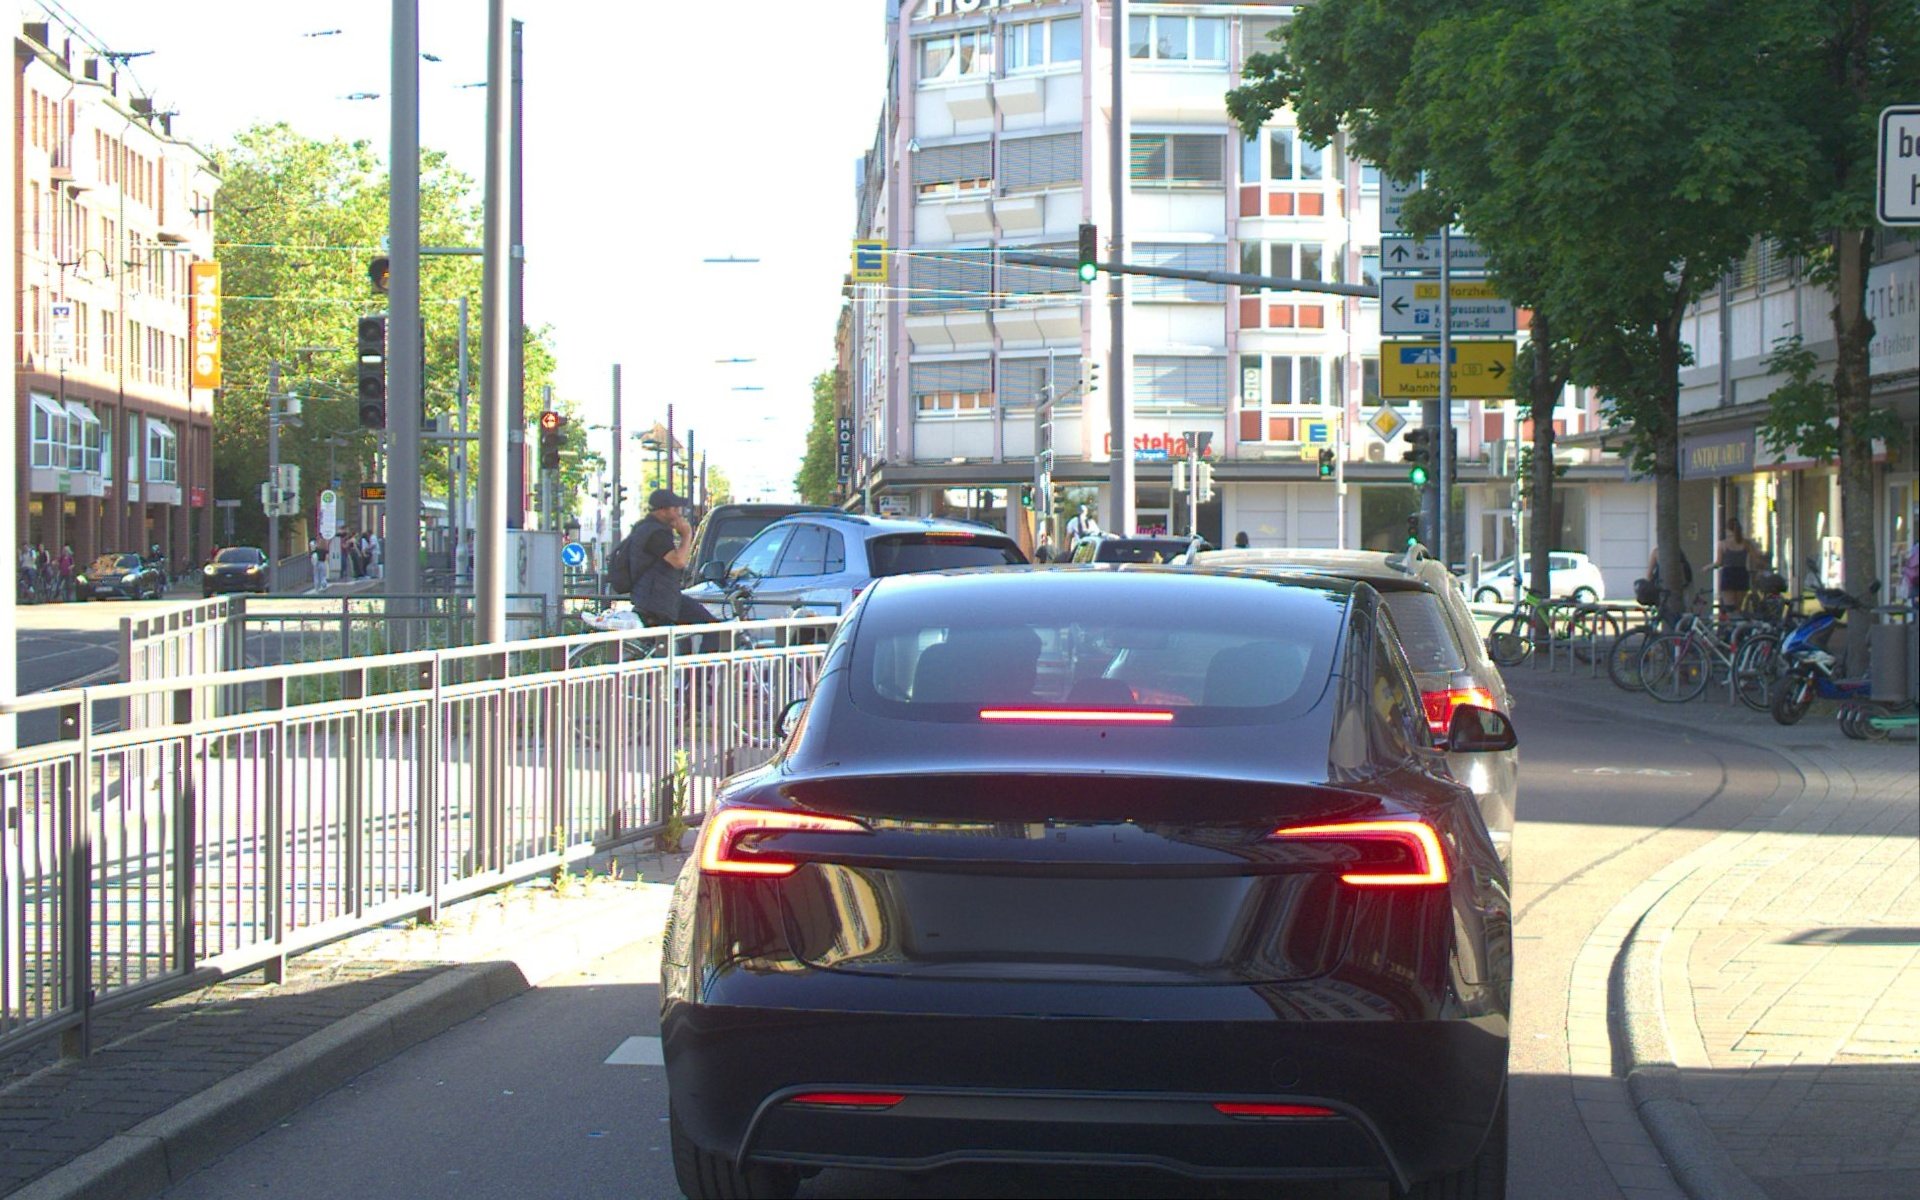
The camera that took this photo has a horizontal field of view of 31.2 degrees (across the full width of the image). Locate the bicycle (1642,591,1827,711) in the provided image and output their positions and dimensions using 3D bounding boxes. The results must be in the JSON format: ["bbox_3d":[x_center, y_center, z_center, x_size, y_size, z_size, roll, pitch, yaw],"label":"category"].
[{"bbox_3d":[7.181,0.474,31.881,1.649,1.095,0.350,1,0,-10],"label":"bicycle"}]

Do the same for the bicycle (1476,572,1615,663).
[{"bbox_3d":[7.231,0.218,42.488,1.650,1.095,0.350,1,0,1],"label":"bicycle"}]

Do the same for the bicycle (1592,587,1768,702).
[{"bbox_3d":[6.999,0.431,33.408,1.649,1.095,0.350,1,0,-10],"label":"bicycle"}]

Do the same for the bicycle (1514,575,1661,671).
[{"bbox_3d":[7.361,0.266,40.349,1.650,1.095,0.350,1,0,1],"label":"bicycle"}]

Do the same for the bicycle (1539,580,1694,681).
[{"bbox_3d":[7.309,0.339,38.309,1.650,1.095,0.350,1,0,1],"label":"bicycle"}]

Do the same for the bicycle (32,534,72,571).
[{"bbox_3d":[-27.249,-1.421,103.168,0.529,1.085,2.284,1,1,1],"label":"bicycle"}]

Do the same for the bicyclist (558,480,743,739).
[{"bbox_3d":[-2.002,0.052,22.186,0.758,1.623,0.978,0,1,-39],"label":"bicyclist"}]

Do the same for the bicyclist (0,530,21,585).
[{"bbox_3d":[-27.293,-1.203,98.074,0.784,1.558,0.746,1,0,1],"label":"bicyclist"}]

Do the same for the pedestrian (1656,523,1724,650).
[{"bbox_3d":[9.669,-0.178,45.565,0.699,1.656,0.777,1,0,-1],"label":"pedestrian"}]

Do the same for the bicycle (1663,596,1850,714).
[{"bbox_3d":[7.285,0.501,31.458,1.649,1.057,0.350,1,0,-10],"label":"bicycle"}]

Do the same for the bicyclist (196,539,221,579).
[{"bbox_3d":[-29.351,-1.603,134.297,0.784,1.558,0.746,1,0,2],"label":"bicyclist"}]

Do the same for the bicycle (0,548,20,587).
[{"bbox_3d":[-27.304,-0.934,97.678,0.537,1.085,2.225,1,1,0],"label":"bicycle"}]

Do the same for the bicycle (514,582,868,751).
[{"bbox_3d":[-1.731,0.420,22.451,2.329,1.050,0.631,0,1,-38],"label":"bicycle"}]

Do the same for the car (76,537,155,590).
[{"bbox_3d":[-25.224,-1.099,102.794,1.710,1.521,4.037,1,1,-5],"label":"car"}]

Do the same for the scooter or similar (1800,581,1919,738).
[{"bbox_3d":[7.557,0.470,27.198,1.644,1.211,0.644,1,0,30],"label":"scooter or similar"}]

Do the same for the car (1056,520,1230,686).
[{"bbox_3d":[2.029,0.012,39.111,1.598,1.772,3.981,1,1,-2],"label":"car"}]

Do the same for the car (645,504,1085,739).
[{"bbox_3d":[-0.829,0.129,26.481,1.883,1.656,4.159,1,1,-25],"label":"car"}]

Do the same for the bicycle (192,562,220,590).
[{"bbox_3d":[-29.374,-0.937,133.984,0.529,1.085,2.224,1,1,1],"label":"bicycle"}]

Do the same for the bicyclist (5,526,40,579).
[{"bbox_3d":[-27.394,-1.385,100.463,0.784,1.558,0.746,0,1,2],"label":"bicyclist"}]

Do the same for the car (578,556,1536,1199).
[{"bbox_3d":[0.329,0.635,8.613,1.829,1.450,3.999,1,1,4],"label":"car"}]

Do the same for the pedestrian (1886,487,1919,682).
[{"bbox_3d":[10.019,-0.158,35.636,0.662,2.007,0.579,1,0,2],"label":"pedestrian"}]

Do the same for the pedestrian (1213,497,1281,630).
[{"bbox_3d":[4.409,-0.562,52.822,0.921,2.007,0.972,1,0,-1],"label":"pedestrian"}]

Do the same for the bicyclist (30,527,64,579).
[{"bbox_3d":[-27.237,-1.400,102.561,0.784,1.558,0.746,0,1,2],"label":"bicyclist"}]

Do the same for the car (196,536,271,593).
[{"bbox_3d":[-22.384,-1.095,106.037,1.697,1.725,3.707,1,1,-3],"label":"car"}]

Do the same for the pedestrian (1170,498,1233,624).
[{"bbox_3d":[3.917,-0.631,55.904,0.921,2.007,0.972,1,0,-1],"label":"pedestrian"}]

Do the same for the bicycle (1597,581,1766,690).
[{"bbox_3d":[7.418,0.365,35.356,1.650,1.095,0.350,1,0,1],"label":"bicycle"}]

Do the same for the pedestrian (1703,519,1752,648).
[{"bbox_3d":[10.214,-0.221,45.753,0.526,1.704,0.403,1,0,-2],"label":"pedestrian"}]

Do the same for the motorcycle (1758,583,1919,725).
[{"bbox_3d":[7.714,0.460,29.210,1.707,1.169,0.541,1,0,-2],"label":"motorcycle"}]

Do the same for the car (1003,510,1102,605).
[{"bbox_3d":[1.748,-0.814,65.869,1.719,1.745,3.754,1,1,-1],"label":"car"}]

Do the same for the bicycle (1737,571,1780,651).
[{"bbox_3d":[10.527,0.134,45.330,0.332,1.030,1.256,1,0,4],"label":"bicycle"}]

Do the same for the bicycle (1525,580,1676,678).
[{"bbox_3d":[7.329,0.326,39.336,1.650,1.095,0.350,1,0,1],"label":"bicycle"}]

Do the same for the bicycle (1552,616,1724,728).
[{"bbox_3d":[6.764,0.715,34.307,1.649,1.095,0.350,1,0,-10],"label":"bicycle"}]

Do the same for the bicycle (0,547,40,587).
[{"bbox_3d":[-27.473,-0.948,100.342,0.529,1.085,2.284,4,-1,1],"label":"bicycle"}]

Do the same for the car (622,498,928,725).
[{"bbox_3d":[-1.829,0.075,32.634,1.993,2.007,4.001,0,1,-17],"label":"car"}]

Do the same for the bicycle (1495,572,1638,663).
[{"bbox_3d":[7.298,0.209,41.394,1.650,1.095,0.350,0,1,1],"label":"bicycle"}]

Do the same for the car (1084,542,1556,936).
[{"bbox_3d":[1.557,0.486,14.953,1.751,1.449,3.999,1,1,6],"label":"car"}]

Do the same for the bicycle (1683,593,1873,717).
[{"bbox_3d":[7.383,0.493,31.036,1.649,1.095,0.350,1,0,-10],"label":"bicycle"}]
